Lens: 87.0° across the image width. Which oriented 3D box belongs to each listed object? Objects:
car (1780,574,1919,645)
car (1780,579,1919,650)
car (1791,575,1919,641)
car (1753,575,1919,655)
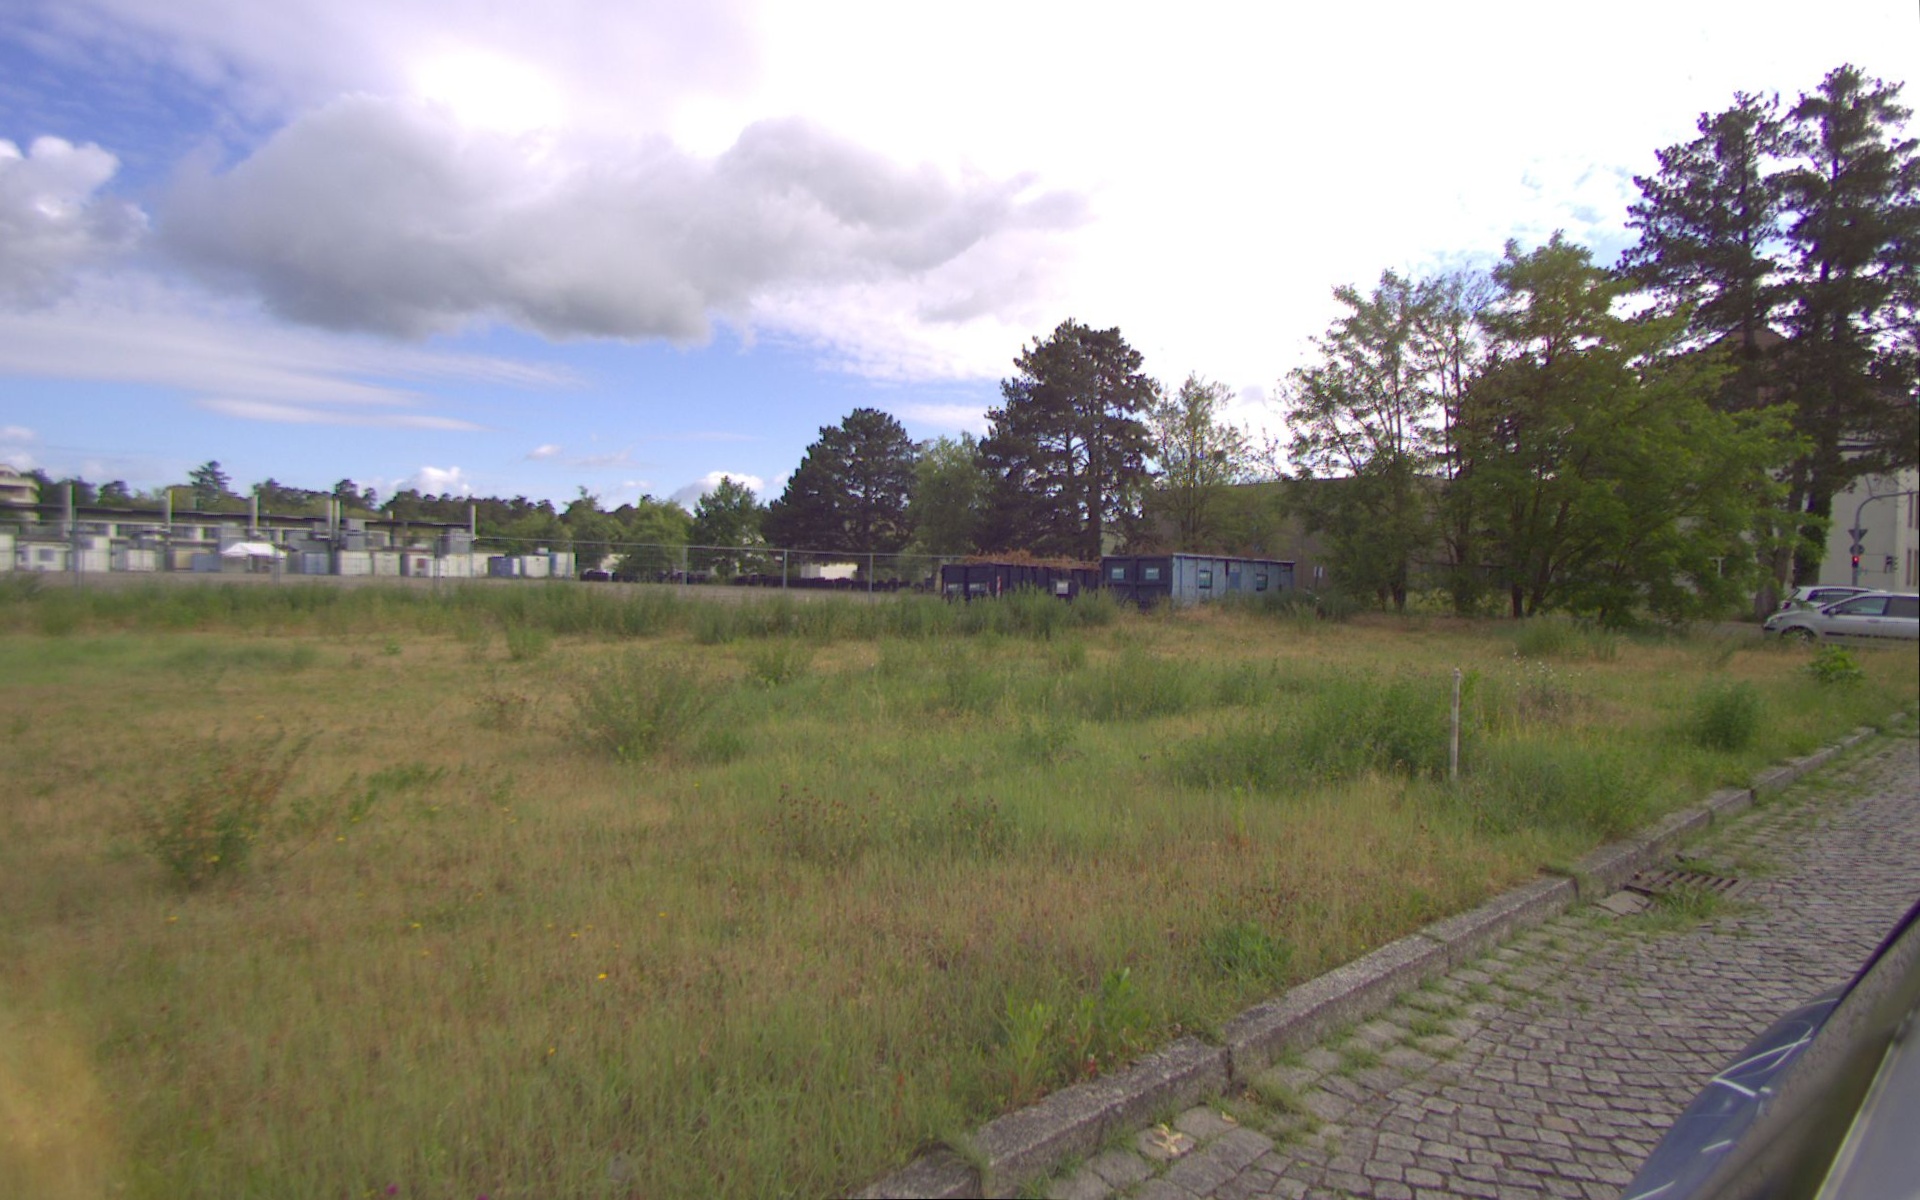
[{"bbox_3d":[24.347,0.271,26.455,1.854,1.615,4.247,0,5,-43],"label":"car"},{"bbox_3d":[22.589,0.372,24.388,1.853,1.470,4.082,0,5,-42],"label":"car"},{"bbox_3d":[26.214,0.263,28.132,1.873,1.584,4.502,0,4,-42],"label":"car"},{"bbox_3d":[20.562,0.345,22.664,1.773,1.533,4.082,0,4,-42],"label":"car"}]
